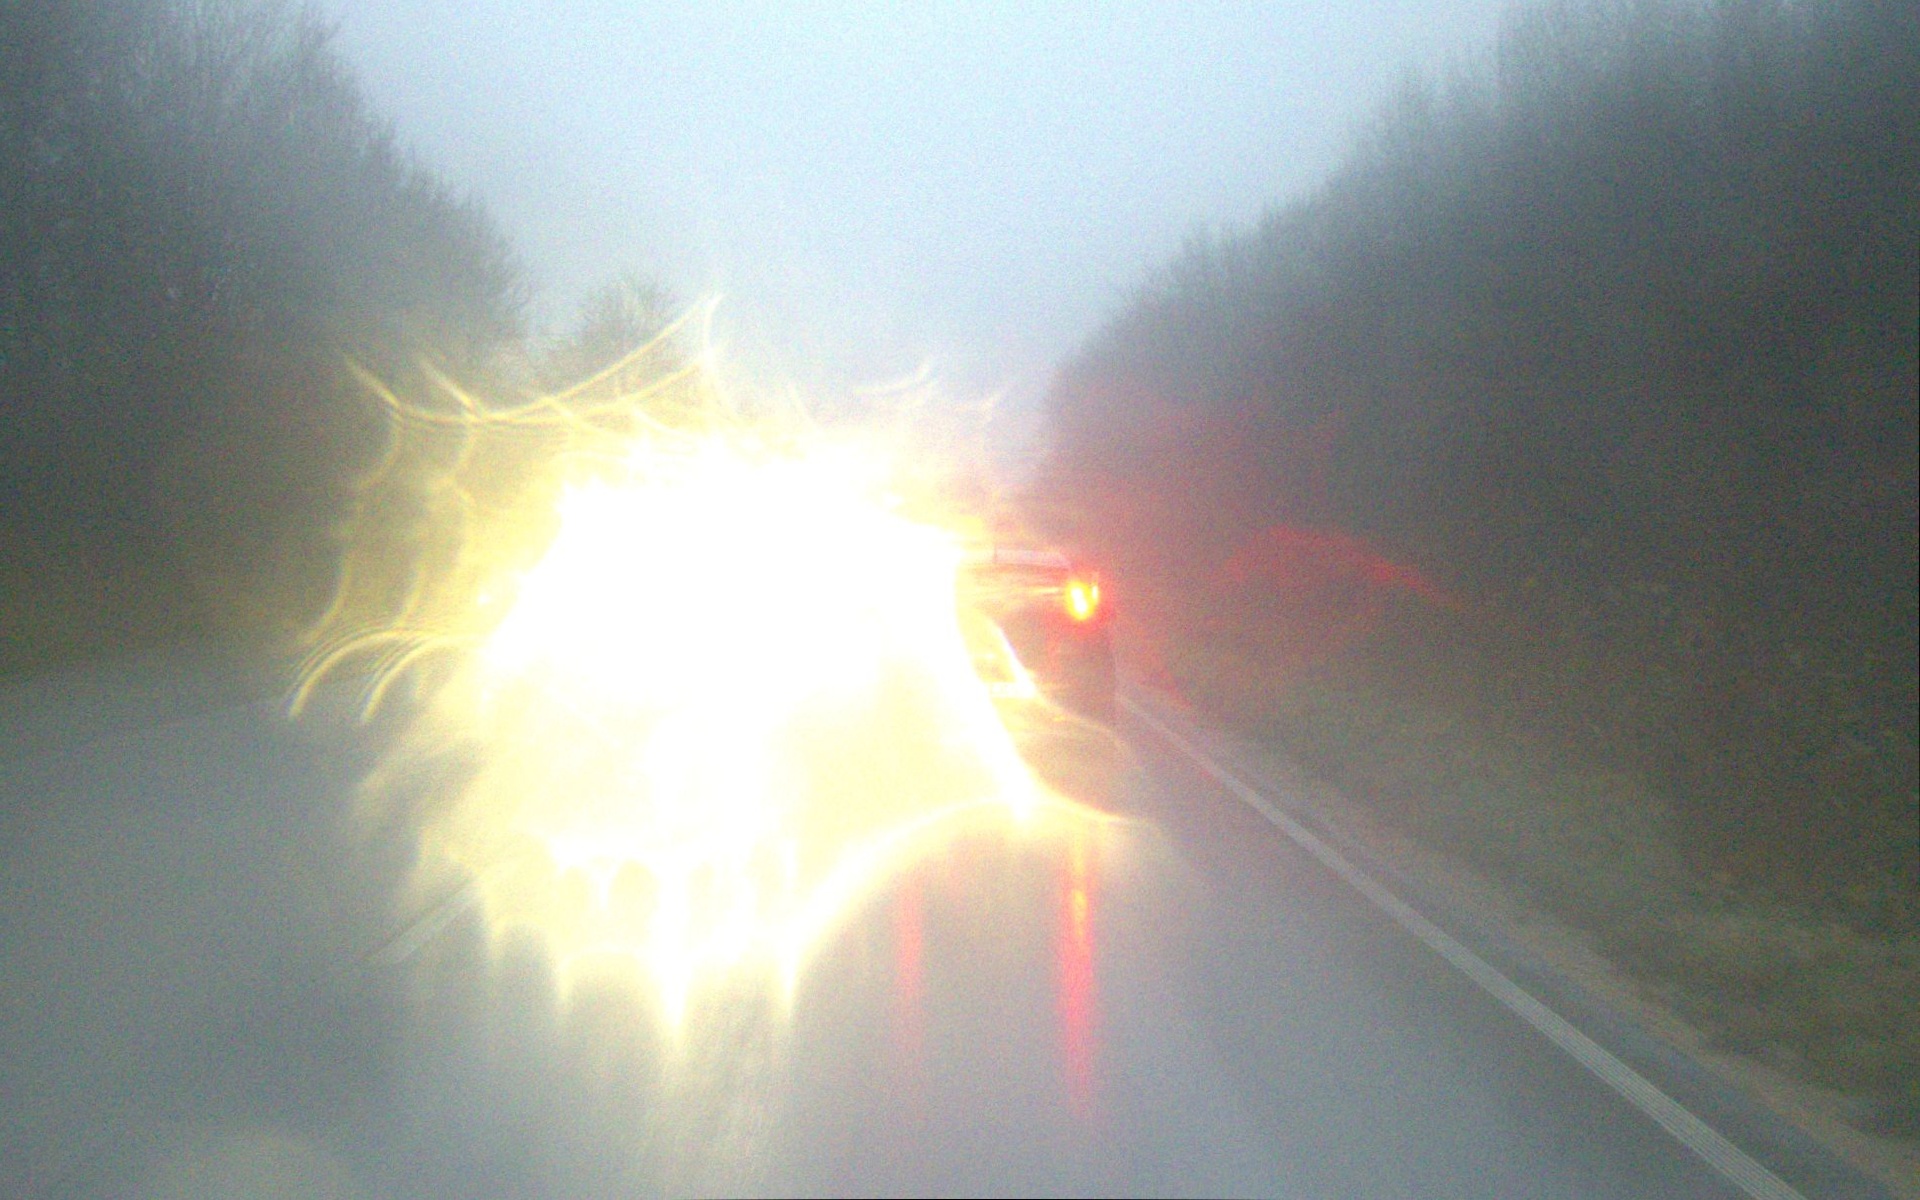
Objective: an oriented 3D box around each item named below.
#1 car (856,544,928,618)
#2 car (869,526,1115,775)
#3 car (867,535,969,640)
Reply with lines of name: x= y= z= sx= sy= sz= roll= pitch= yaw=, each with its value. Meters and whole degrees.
car: x=-1.677 y=-0.483 z=85.501 sx=1.733 sy=1.773 sz=4.000 roll=0 pitch=1 yaw=-1
car: x=0.256 y=0.315 z=24.880 sx=1.648 sy=1.666 sz=3.514 roll=0 pitch=1 yaw=1
car: x=-0.748 y=-0.239 z=60.810 sx=1.733 sy=1.773 sz=4.000 roll=0 pitch=1 yaw=-1
